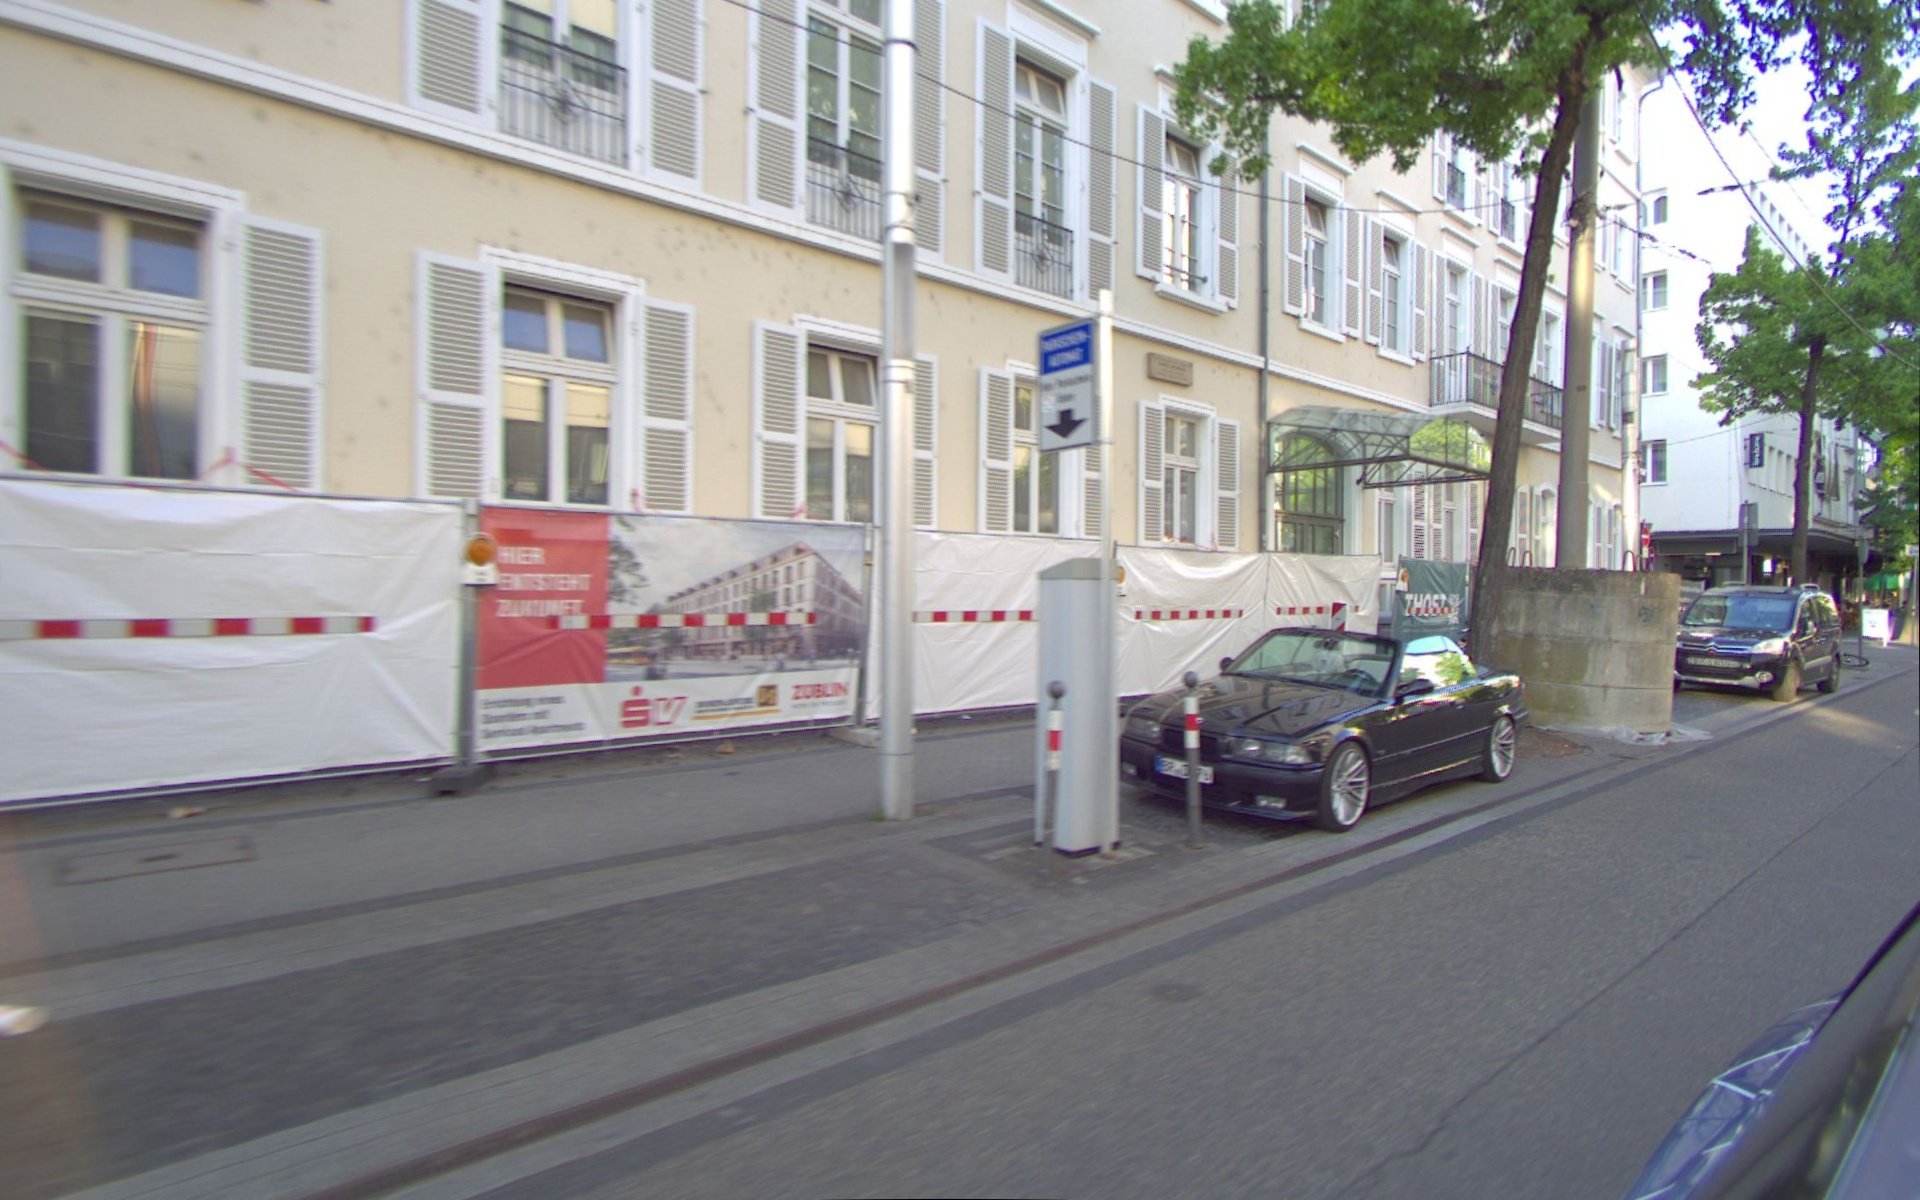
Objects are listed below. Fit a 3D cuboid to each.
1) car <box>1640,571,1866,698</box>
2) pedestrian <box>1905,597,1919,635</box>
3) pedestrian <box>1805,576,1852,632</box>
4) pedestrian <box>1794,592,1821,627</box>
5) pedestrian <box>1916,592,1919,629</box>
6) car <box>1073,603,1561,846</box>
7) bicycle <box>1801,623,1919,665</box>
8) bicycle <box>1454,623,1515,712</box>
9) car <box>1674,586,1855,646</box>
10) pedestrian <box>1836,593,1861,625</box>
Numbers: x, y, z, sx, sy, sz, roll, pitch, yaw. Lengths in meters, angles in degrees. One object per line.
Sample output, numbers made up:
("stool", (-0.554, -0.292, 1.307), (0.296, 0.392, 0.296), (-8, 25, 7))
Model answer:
("car", (13.264, 0.467, 16.853), (4.237, 1.815, 1.958), (0, 3, -38))
("pedestrian", (34.458, 0.559, 36.305), (0.613, 1.346, 0.716), (0, 0, -39))
("pedestrian", (28.985, 0.119, 33.774), (1.050, 1.837, 0.946), (-2, 1, -33))
("pedestrian", (33.382, 0.370, 39.859), (0.613, 1.346, 0.716), (0, 0, -39))
("pedestrian", (35.399, 0.402, 36.895), (0.613, 1.346, 0.716), (0, 0, -39))
("car", (3.027, 0.749, 8.108), (4.254, 1.327, 1.798), (-1, 3, -41))
("bicycle", (19.812, 0.942, 22.060), (1.531, 0.757, 1.761), (0, 2, -23))
("bicycle", (7.310, 0.901, 14.079), (0.650, 1.084, 1.657), (3, 2, 30))
("car", (24.286, 0.427, 30.678), (1.831, 1.628, 3.944), (-2, 2, -33))
("pedestrian", (38.147, 0.369, 43.472), (0.613, 1.346, 0.716), (0, 0, -39))
